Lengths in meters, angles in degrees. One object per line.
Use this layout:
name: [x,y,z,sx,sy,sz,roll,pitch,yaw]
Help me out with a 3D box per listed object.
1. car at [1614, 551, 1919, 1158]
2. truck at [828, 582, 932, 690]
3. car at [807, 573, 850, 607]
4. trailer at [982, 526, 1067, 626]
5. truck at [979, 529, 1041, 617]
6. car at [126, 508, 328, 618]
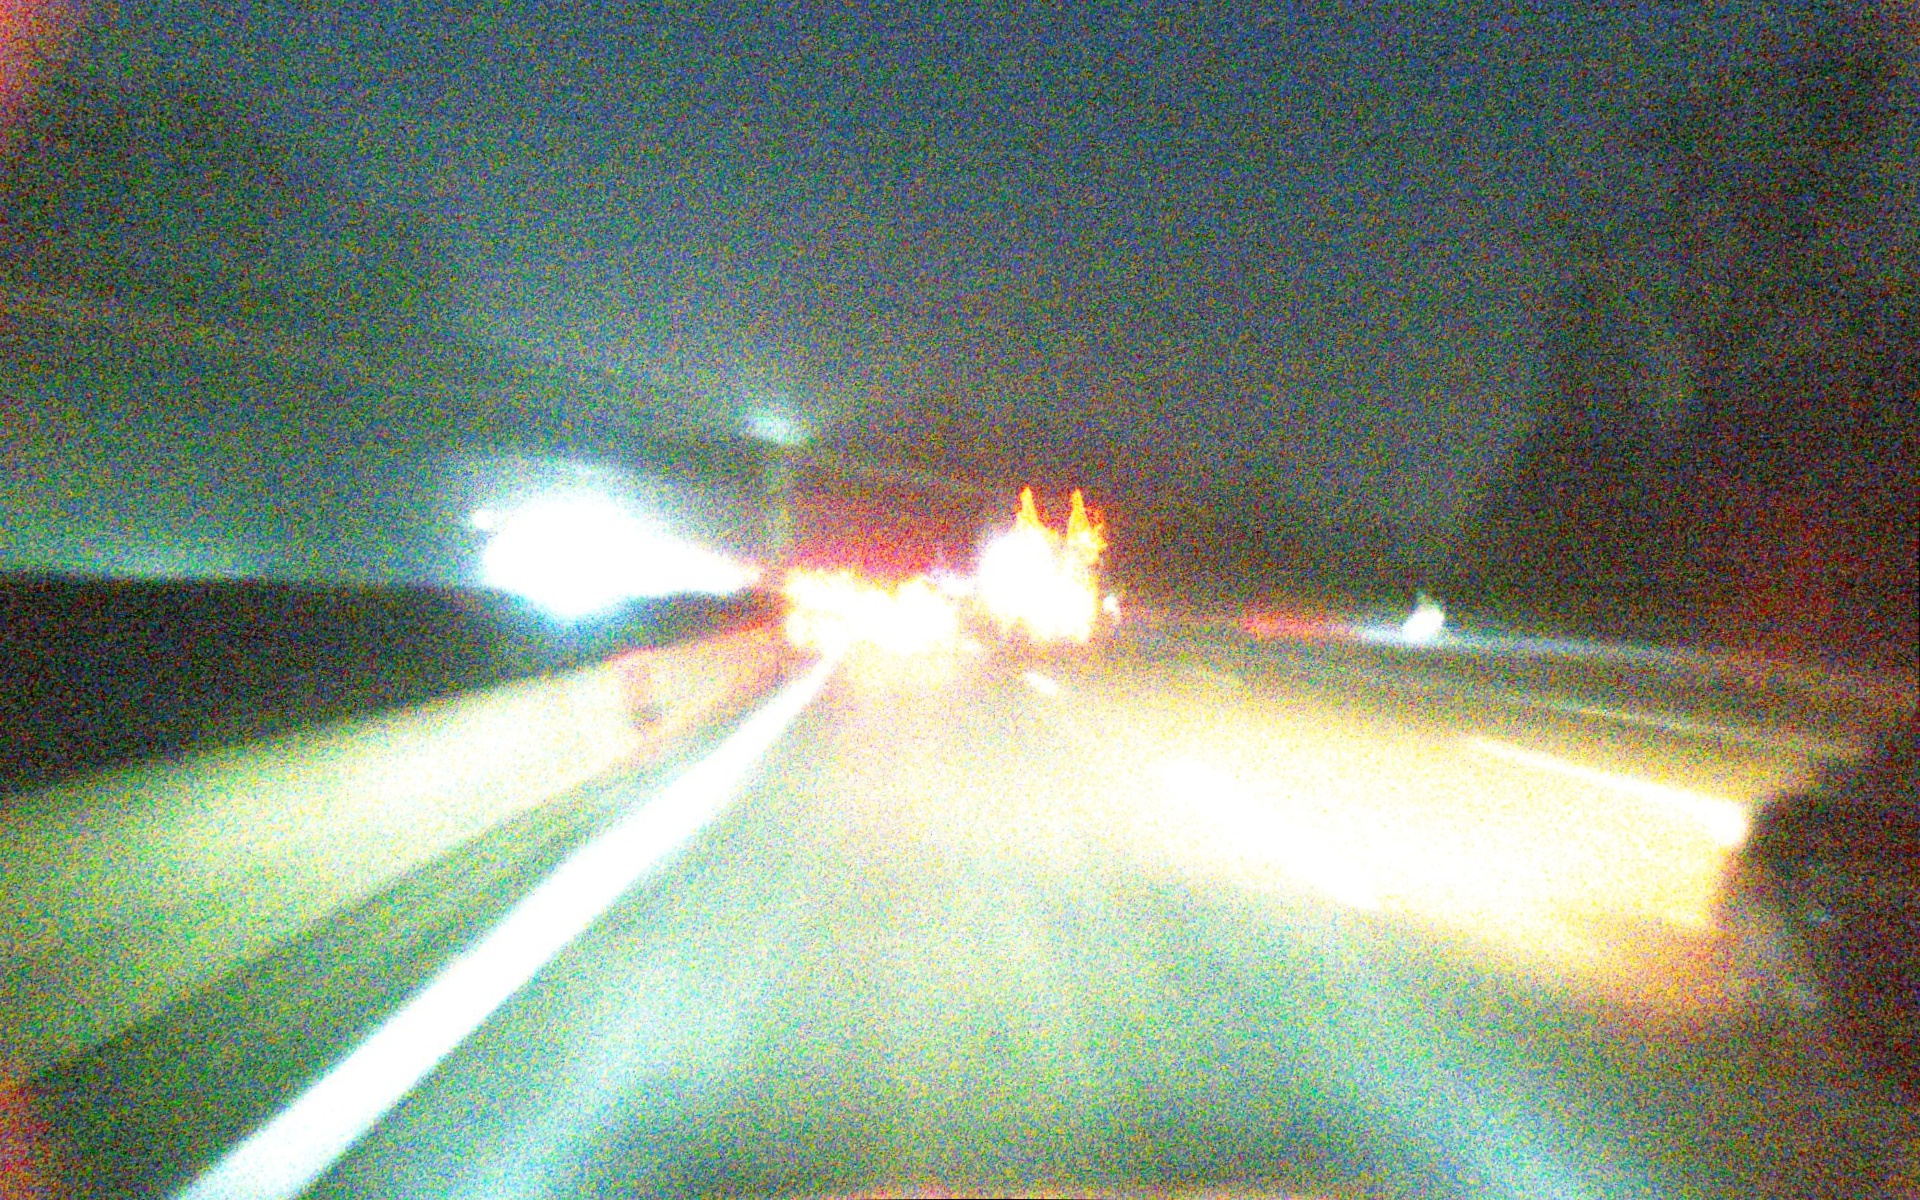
car: [3.504,0.713,4.400,1.764,1.645,4.256,2,0,-1]
truck: [-1.827,0.758,39.946,2.102,2.112,6.603,5,1,-1]
car: [-8.221,-0.595,103.045,1.961,2.049,3.982,0,-1,-16]
trailer: [2.897,-1.220,78.658,2.685,4.321,13.363,-1,2,-4]
truck: [2.512,-1.391,85.273,2.656,4.315,5.290,1,1,-3]
car: [-13.320,-0.691,30.325,1.954,1.692,3.998,5,1,-3]
